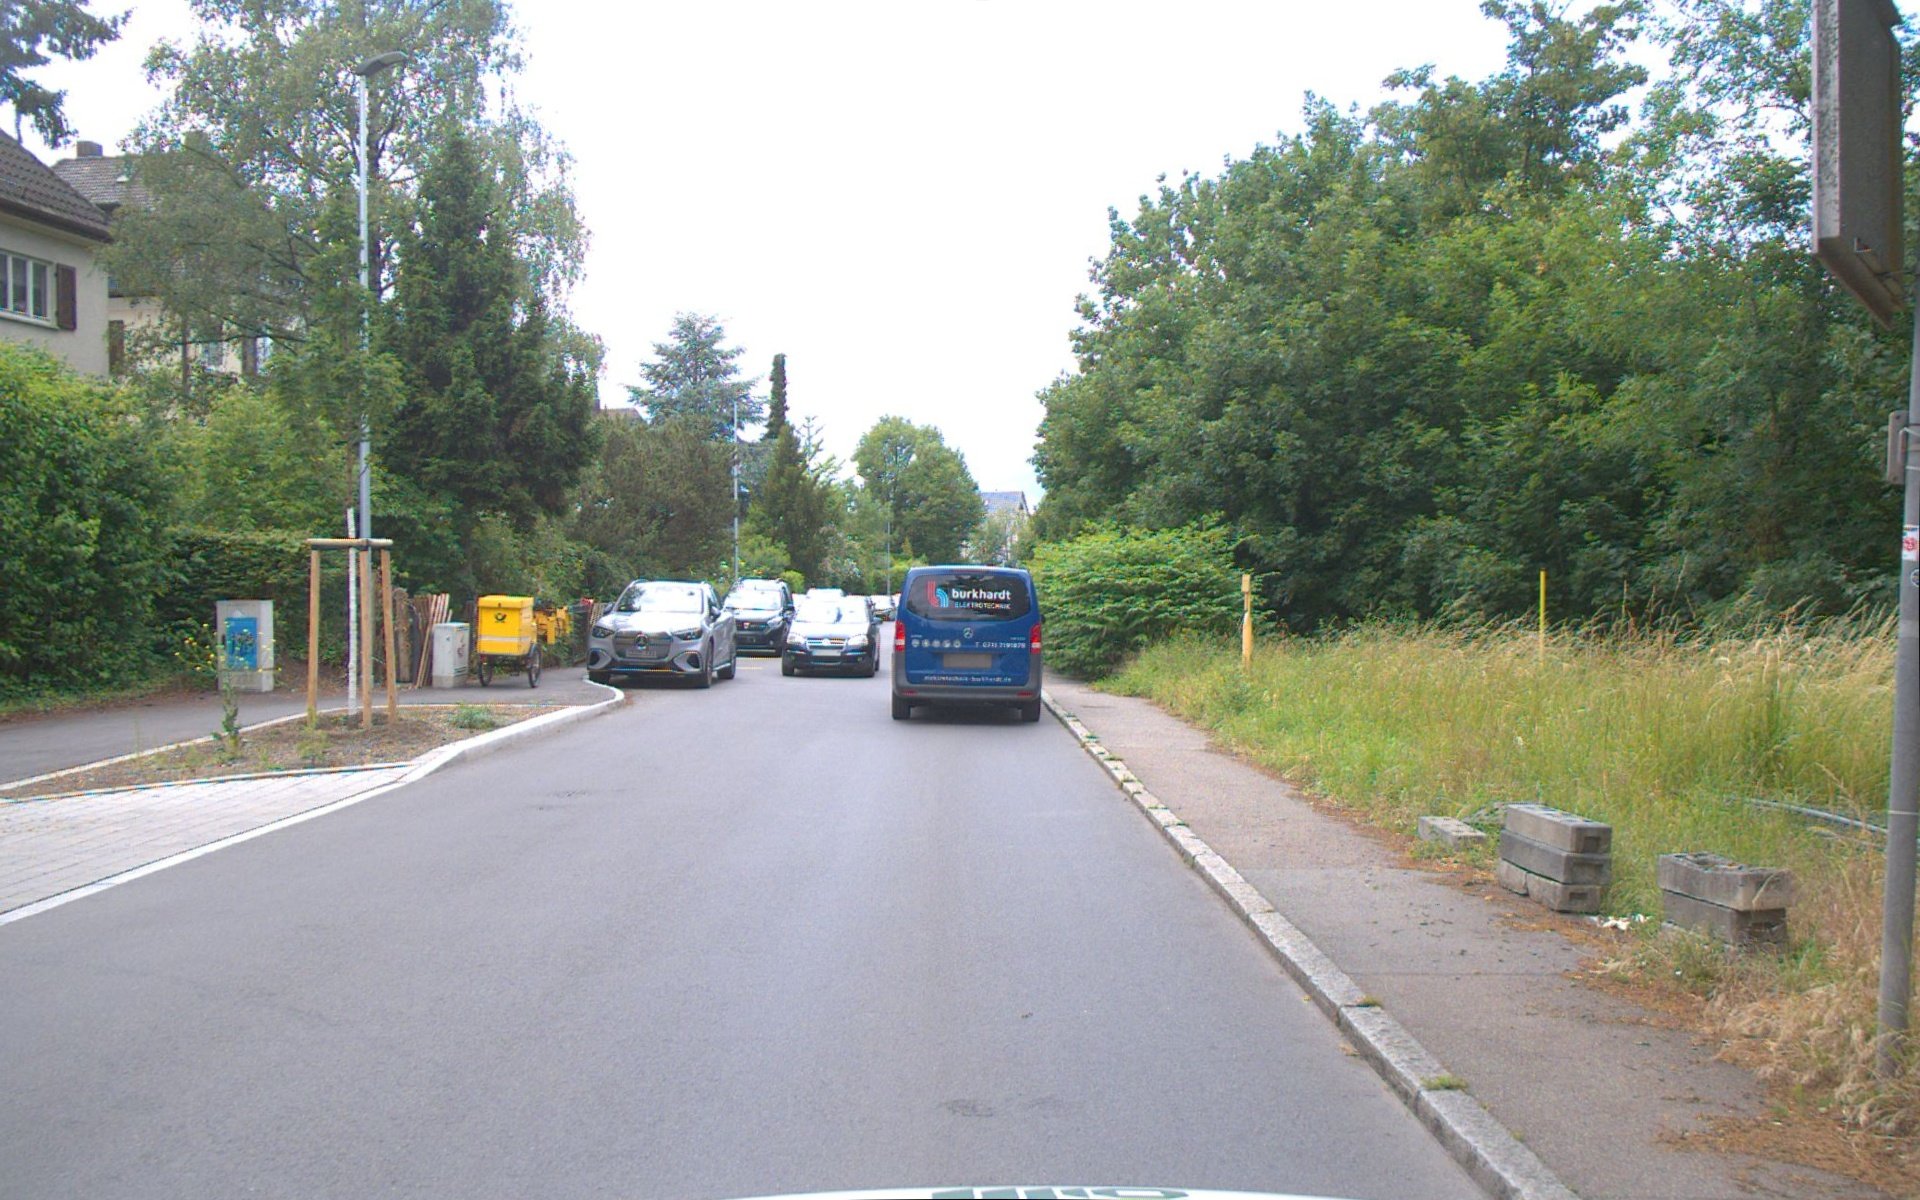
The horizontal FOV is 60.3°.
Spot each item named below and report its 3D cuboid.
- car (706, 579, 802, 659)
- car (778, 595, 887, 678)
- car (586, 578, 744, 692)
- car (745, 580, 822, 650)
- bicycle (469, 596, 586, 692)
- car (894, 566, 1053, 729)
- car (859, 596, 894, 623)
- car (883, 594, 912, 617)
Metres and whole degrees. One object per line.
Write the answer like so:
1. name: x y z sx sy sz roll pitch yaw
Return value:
1. car: -4.913 0.414 39.886 1.794 1.782 4.000 1 1 0
2. car: -2.398 0.655 31.922 1.782 1.469 4.000 1 0 0
3. car: -4.710 0.520 26.987 1.798 1.659 4.300 1 0 0
4. car: -4.867 0.432 46.054 1.794 1.836 3.998 1 -1 -2
5. bicycle: -6.234 0.598 24.024 0.887 1.273 2.915 2 0 0
6. car: 0.082 0.518 21.370 1.851 1.876 3.999 0 1 -2
7. car: -4.906 0.556 97.718 1.889 1.438 3.963 1 2 0
8. car: -4.386 0.397 116.357 1.889 1.438 3.963 1 2 0
